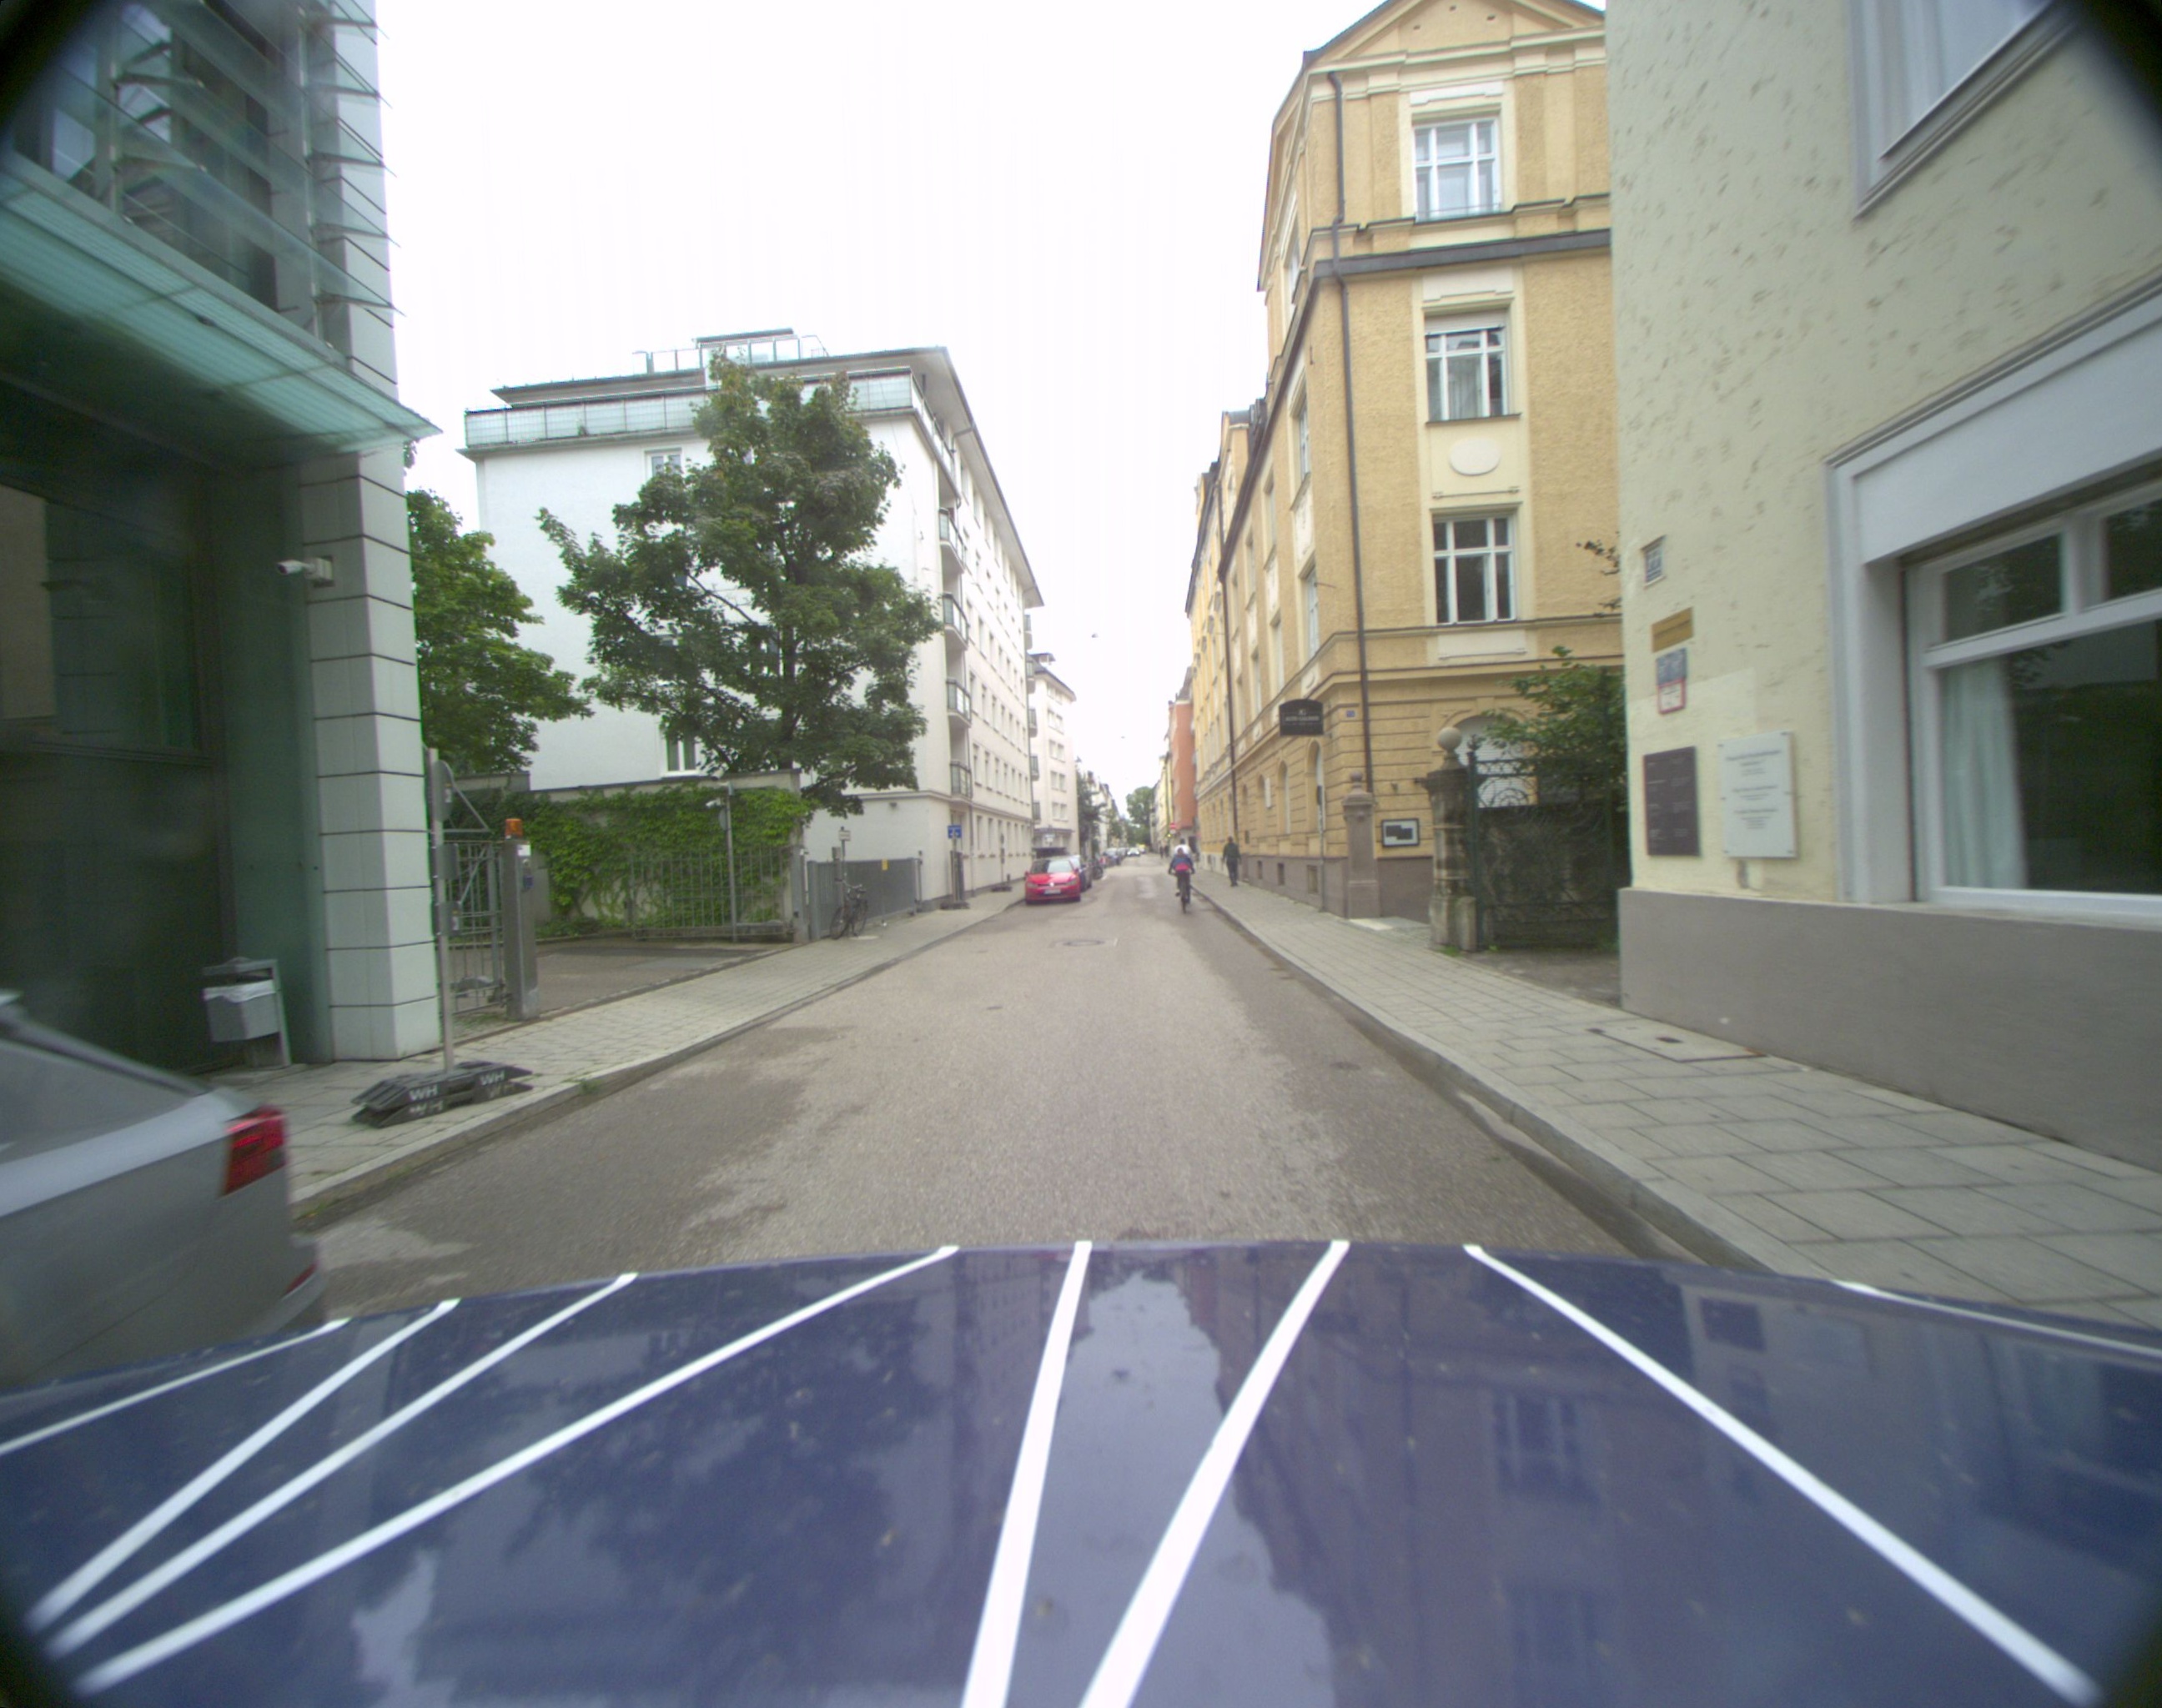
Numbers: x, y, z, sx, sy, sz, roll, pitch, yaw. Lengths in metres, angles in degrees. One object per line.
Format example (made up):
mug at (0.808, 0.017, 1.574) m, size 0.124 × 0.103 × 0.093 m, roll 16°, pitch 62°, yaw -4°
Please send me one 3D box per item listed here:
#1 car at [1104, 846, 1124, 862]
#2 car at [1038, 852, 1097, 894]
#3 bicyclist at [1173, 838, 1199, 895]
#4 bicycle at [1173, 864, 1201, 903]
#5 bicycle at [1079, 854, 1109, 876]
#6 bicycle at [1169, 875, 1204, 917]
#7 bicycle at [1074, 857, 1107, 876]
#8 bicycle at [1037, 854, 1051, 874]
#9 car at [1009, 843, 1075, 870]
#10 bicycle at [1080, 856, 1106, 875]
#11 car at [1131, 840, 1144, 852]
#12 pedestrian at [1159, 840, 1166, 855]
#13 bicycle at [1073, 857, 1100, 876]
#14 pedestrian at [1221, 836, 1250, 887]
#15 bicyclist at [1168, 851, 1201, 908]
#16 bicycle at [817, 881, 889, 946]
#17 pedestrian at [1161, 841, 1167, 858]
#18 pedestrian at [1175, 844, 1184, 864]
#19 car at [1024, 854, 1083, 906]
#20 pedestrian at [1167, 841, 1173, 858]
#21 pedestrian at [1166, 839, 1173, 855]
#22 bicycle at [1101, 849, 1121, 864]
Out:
car at (3.169, 0.000, 72.042) m, size 1.653 × 1.391 × 4.001 m, roll -2°, pitch 1°, yaw 5°
car at (-0.487, 0.719, 31.121) m, size 1.798 × 1.430 × 4.384 m, roll -4°, pitch 1°, yaw 6°
bicyclist at (3.090, 0.356, 22.411) m, size 0.661 × 1.633 × 0.895 m, roll -2°, pitch 1°, yaw 4°
bicycle at (3.119, 0.860, 22.516) m, size 0.662 × 1.033 × 2.005 m, roll -2°, pitch 1°, yaw 4°
bicycle at (0.753, 0.636, 44.216) m, size 1.699 × 1.154 × 0.378 m, roll -3°, pitch 1°, yaw 4°
bicycle at (2.619, 1.034, 19.055) m, size 0.709 × 0.900 × 1.810 m, roll -2°, pitch 1°, yaw 4°
bicycle at (0.522, 0.677, 40.836) m, size 1.706 × 1.038 × 0.360 m, roll -1°, pitch 2°, yaw 5°
bicycle at (-2.295, 0.585, 47.162) m, size 0.399 × 1.198 × 1.503 m, roll -1°, pitch 2°, yaw -20°
car at (-3.010, 0.192, 58.685) m, size 4.675 × 1.880 × 1.935 m, roll -2°, pitch 0°, yaw 13°
bicycle at (0.674, 0.647, 42.546) m, size 1.440 × 1.038 × 0.360 m, roll 0°, pitch 2°, yaw 13°
car at (9.138, -1.235, 123.568) m, size 1.929 × 1.795 × 4.445 m, roll -3°, pitch 0°, yaw 4°
pedestrian at (9.562, -0.753, 88.661) m, size 0.725 × 1.783 × 0.830 m, roll -2°, pitch 1°, yaw 5°
bicycle at (0.311, 0.675, 41.320) m, size 1.438 × 1.038 × 0.330 m, roll 0°, pitch 2°, yaw 13°
pedestrian at (5.334, 0.256, 26.203) m, size 0.714 × 1.656 × 0.930 m, roll -6°, pitch 1°, yaw 4°
bicyclist at (2.595, 0.637, 19.062) m, size 0.709 × 1.363 × 0.813 m, roll -2°, pitch 1°, yaw 4°
bicycle at (-4.518, 1.157, 15.178) m, size 0.709 × 1.191 × 1.835 m, roll -3°, pitch -2°, yaw 5°
pedestrian at (9.681, -0.528, 88.687) m, size 0.634 × 2.002 × 0.788 m, roll -1°, pitch 1°, yaw 5°
pedestrian at (8.339, 0.013, 64.500) m, size 0.613 × 1.684 × 0.565 m, roll -3°, pitch 1°, yaw -5°
car at (-0.904, 0.816, 25.861) m, size 1.765 × 1.438 × 4.297 m, roll -4°, pitch 1°, yaw -1°
pedestrian at (10.388, -0.521, 88.542) m, size 0.634 × 2.002 × 0.788 m, roll -1°, pitch 1°, yaw 5°
pedestrian at (10.372, -0.821, 88.715) m, size 0.699 × 1.783 × 0.763 m, roll -2°, pitch 1°, yaw 5°
bicycle at (2.590, 0.197, 65.632) m, size 1.607 × 1.207 × 0.529 m, roll -2°, pitch 1°, yaw 7°
